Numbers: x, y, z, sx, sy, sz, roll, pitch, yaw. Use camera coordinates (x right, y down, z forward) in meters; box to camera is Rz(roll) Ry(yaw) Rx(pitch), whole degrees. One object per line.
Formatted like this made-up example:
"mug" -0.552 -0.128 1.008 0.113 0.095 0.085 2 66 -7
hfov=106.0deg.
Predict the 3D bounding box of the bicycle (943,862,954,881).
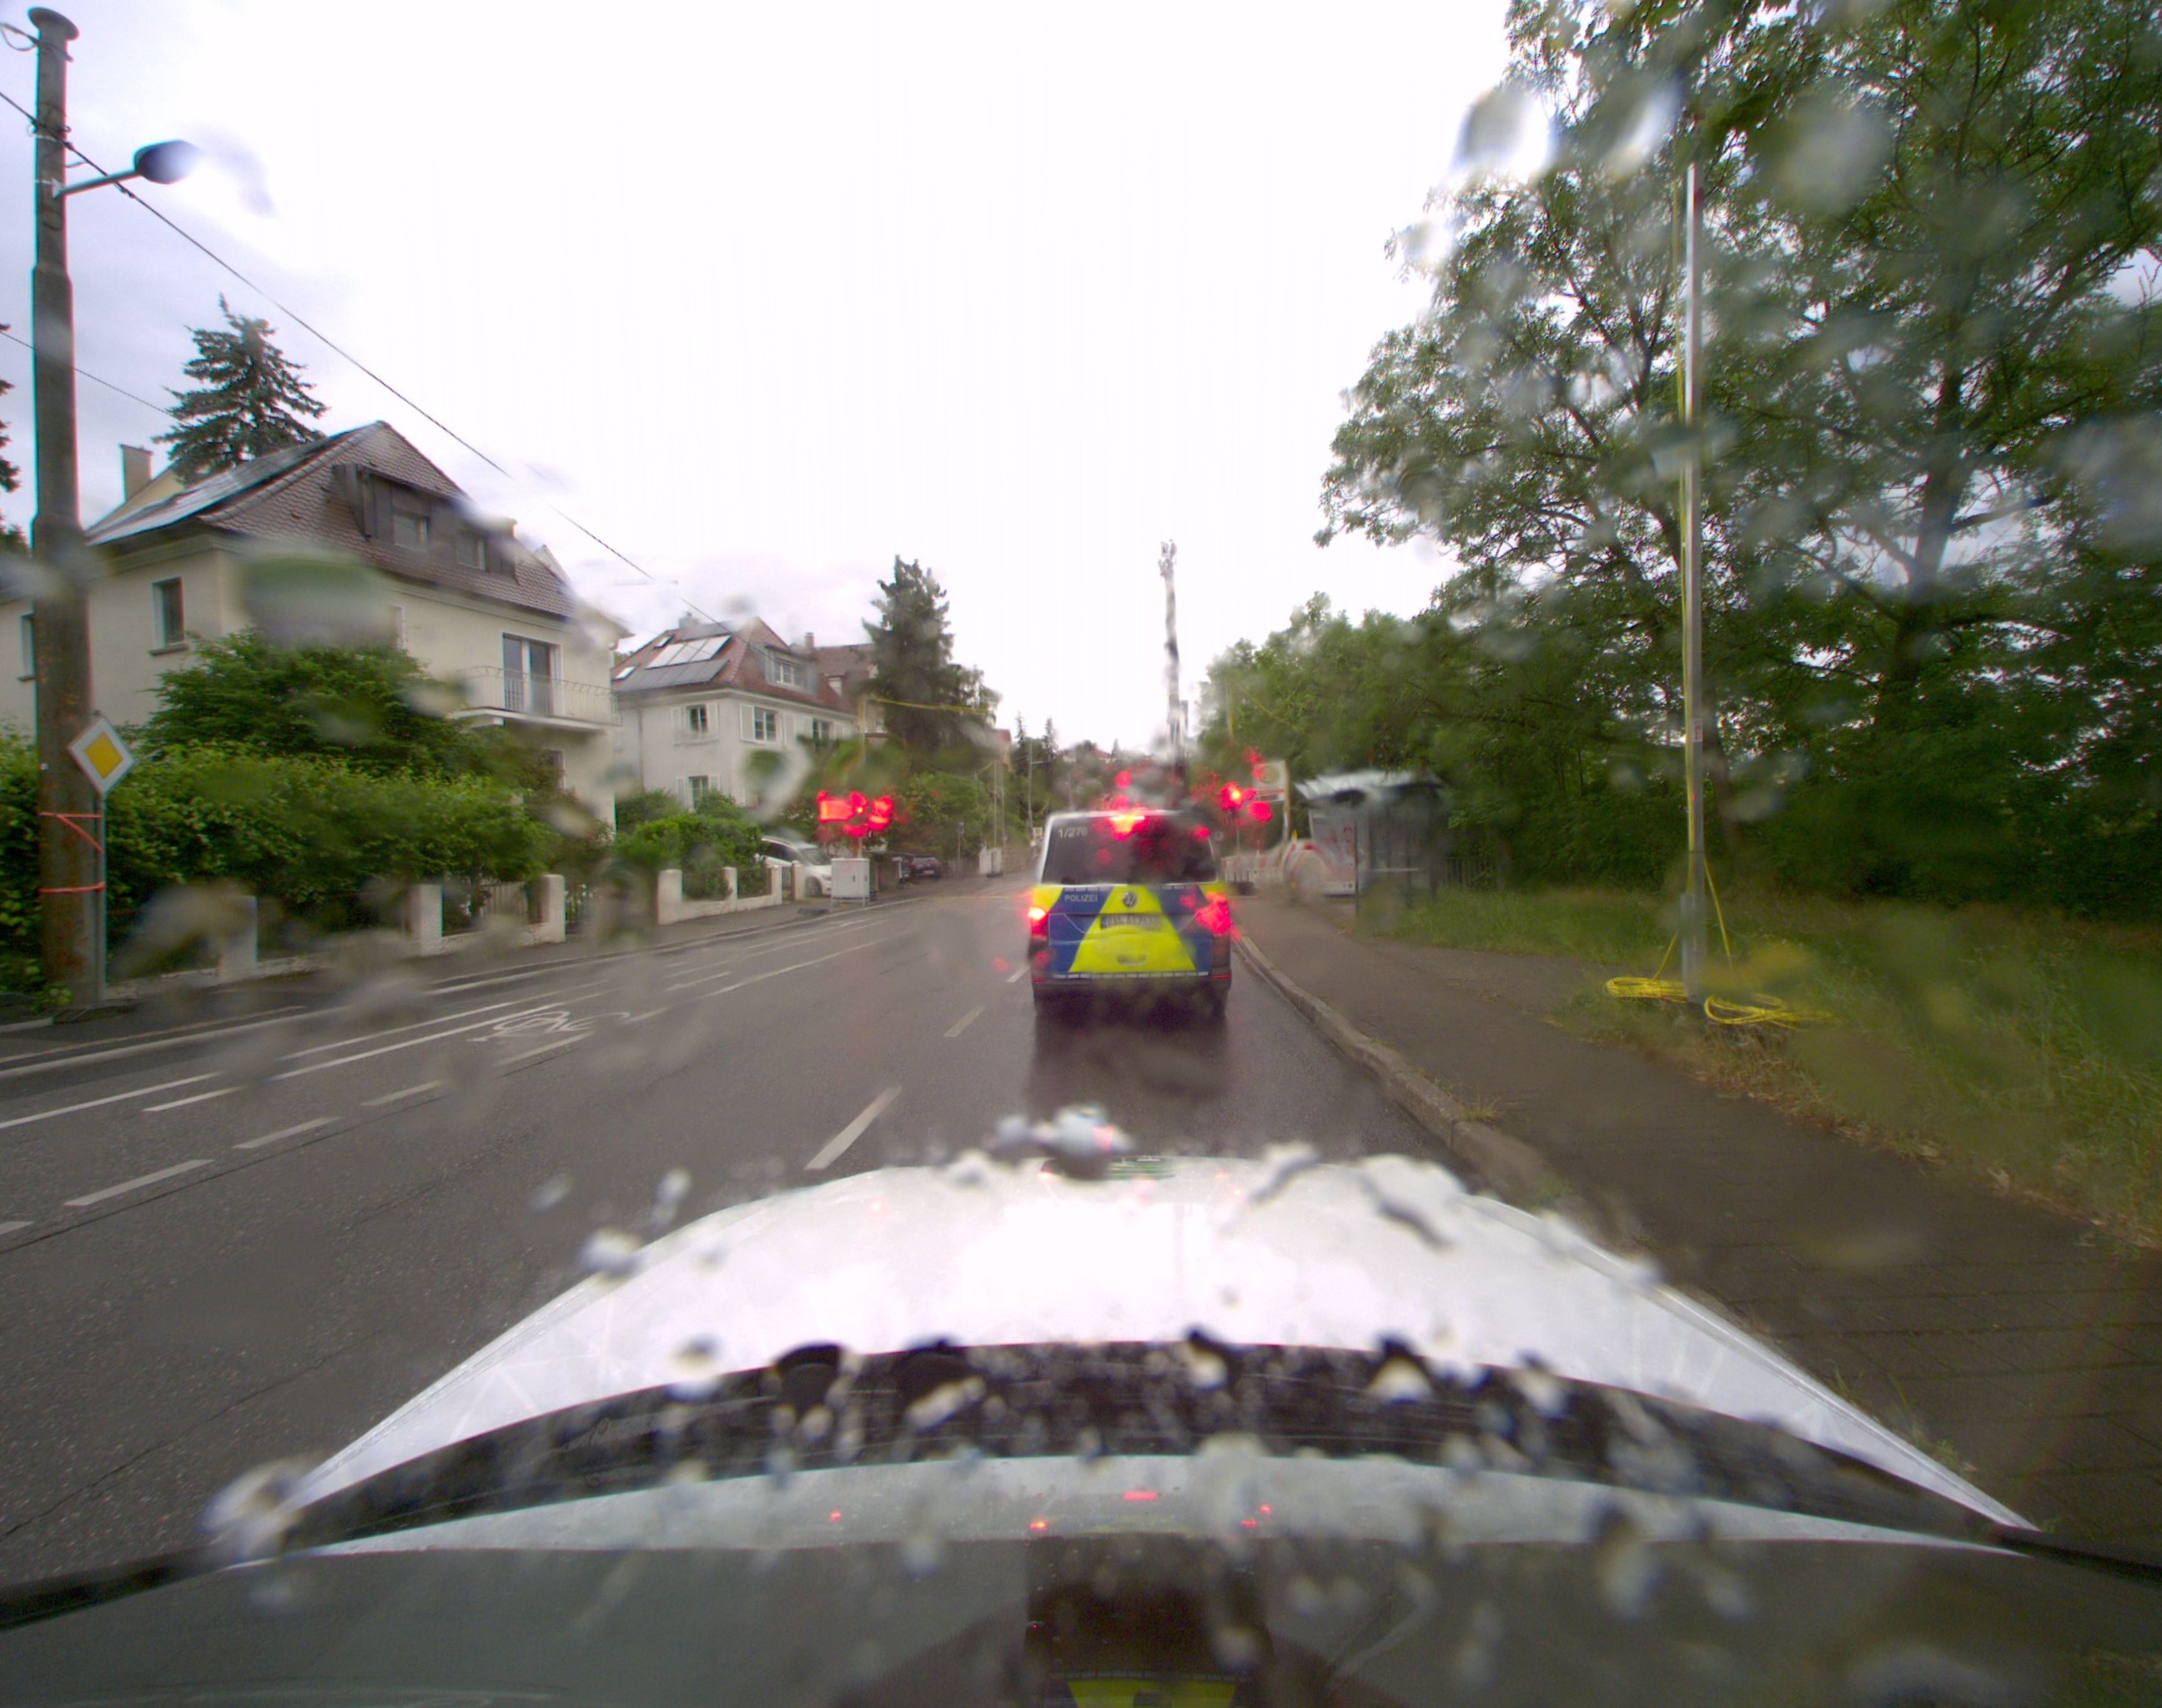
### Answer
"bicycle" -6.501 0.834 39.882 0.463 0.897 1.627 -1 0 -12

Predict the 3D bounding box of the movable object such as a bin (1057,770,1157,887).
"movable object such as a bin" 1.105 -0.923 31.766 2.809 4.177 4.400 0 0 17

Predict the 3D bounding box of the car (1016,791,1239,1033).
"car" 0.461 0.487 8.935 1.886 2.050 4.002 0 0 2

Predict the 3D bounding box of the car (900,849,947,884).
"car" -7.455 0.564 38.292 1.770 1.486 3.720 0 1 -17

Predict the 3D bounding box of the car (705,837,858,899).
"car" -10.281 0.465 28.050 4.599 2.007 1.907 0 0 13
